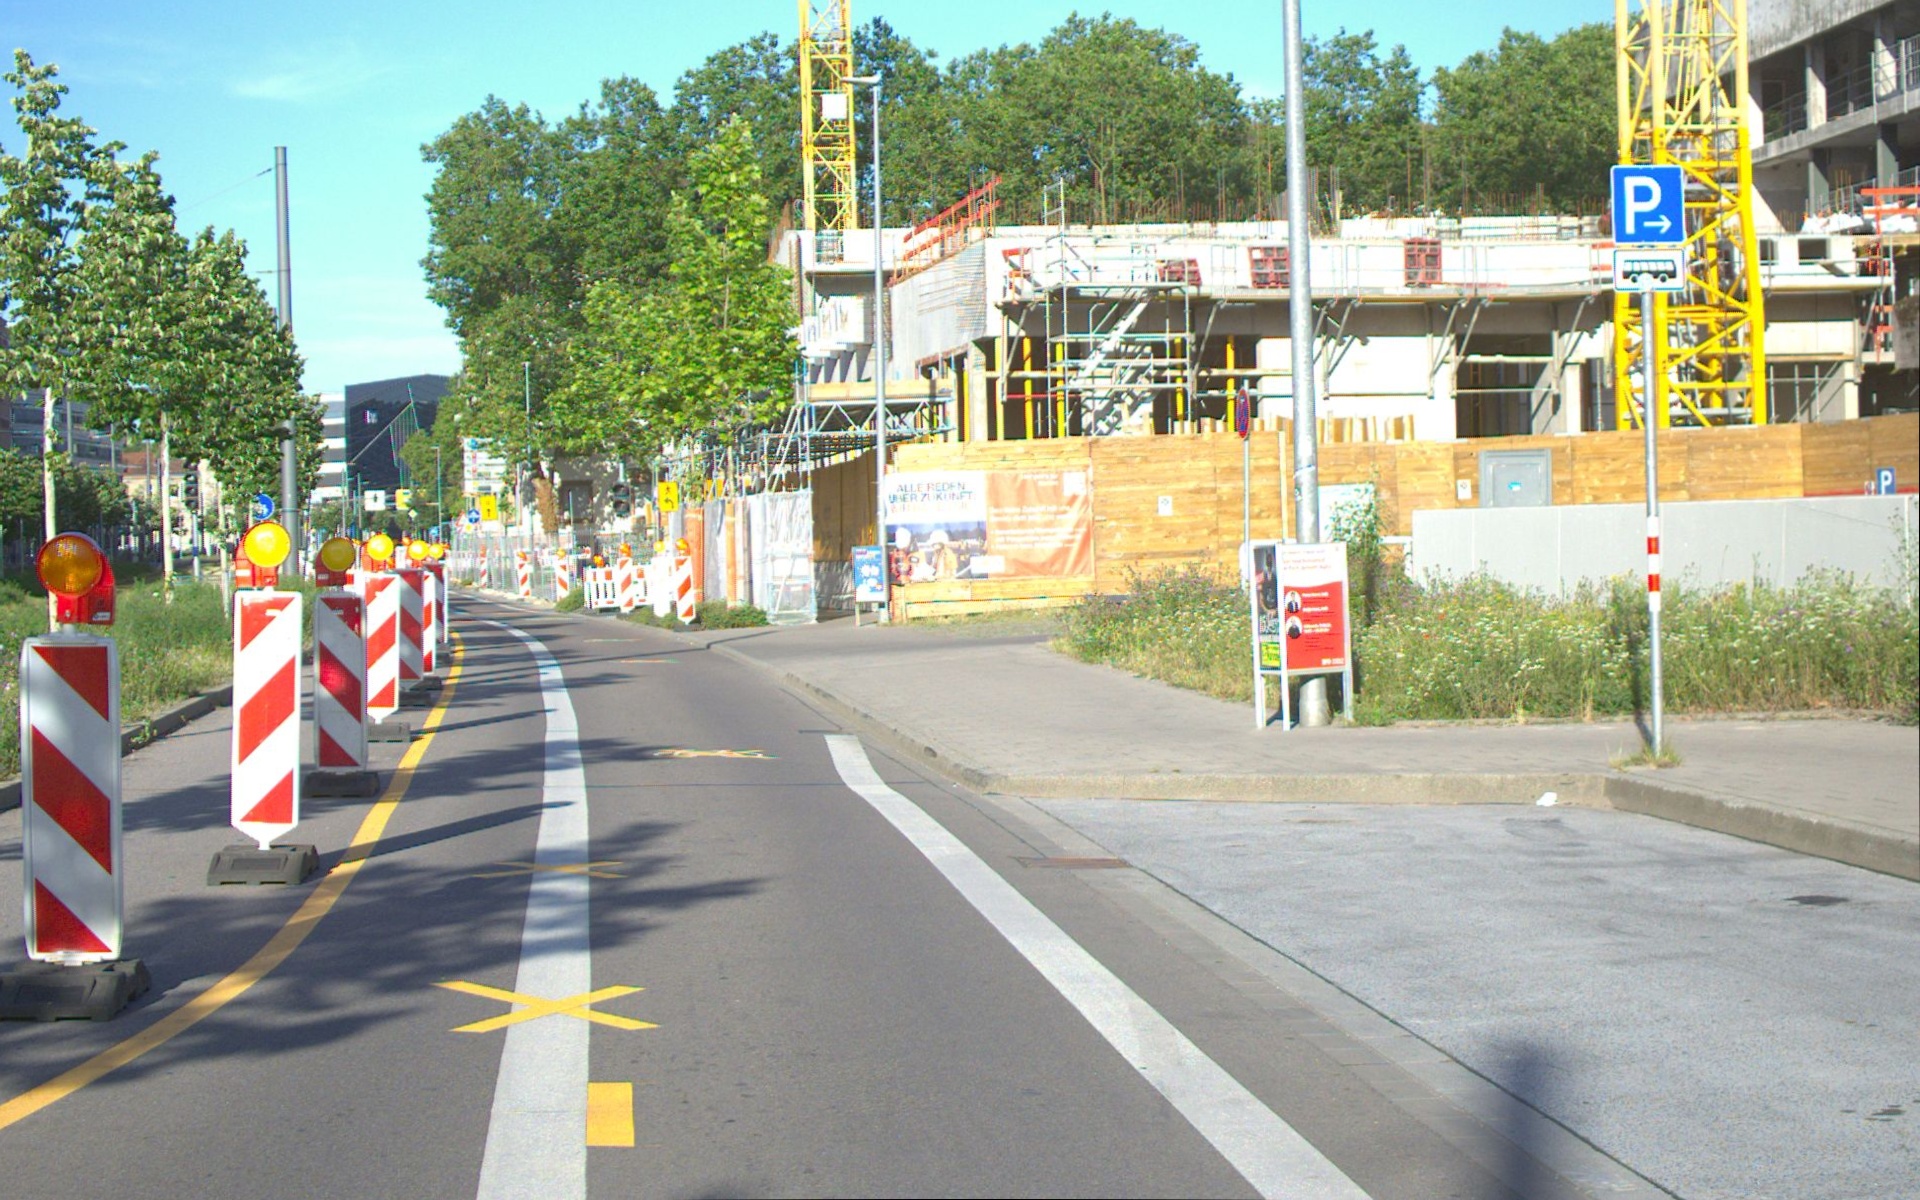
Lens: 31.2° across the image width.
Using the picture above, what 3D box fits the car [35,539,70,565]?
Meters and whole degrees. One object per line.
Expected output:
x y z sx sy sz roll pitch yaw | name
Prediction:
-54.040 -2.867 204.740 1.594 1.478 3.624 -2 1 -9 | car
